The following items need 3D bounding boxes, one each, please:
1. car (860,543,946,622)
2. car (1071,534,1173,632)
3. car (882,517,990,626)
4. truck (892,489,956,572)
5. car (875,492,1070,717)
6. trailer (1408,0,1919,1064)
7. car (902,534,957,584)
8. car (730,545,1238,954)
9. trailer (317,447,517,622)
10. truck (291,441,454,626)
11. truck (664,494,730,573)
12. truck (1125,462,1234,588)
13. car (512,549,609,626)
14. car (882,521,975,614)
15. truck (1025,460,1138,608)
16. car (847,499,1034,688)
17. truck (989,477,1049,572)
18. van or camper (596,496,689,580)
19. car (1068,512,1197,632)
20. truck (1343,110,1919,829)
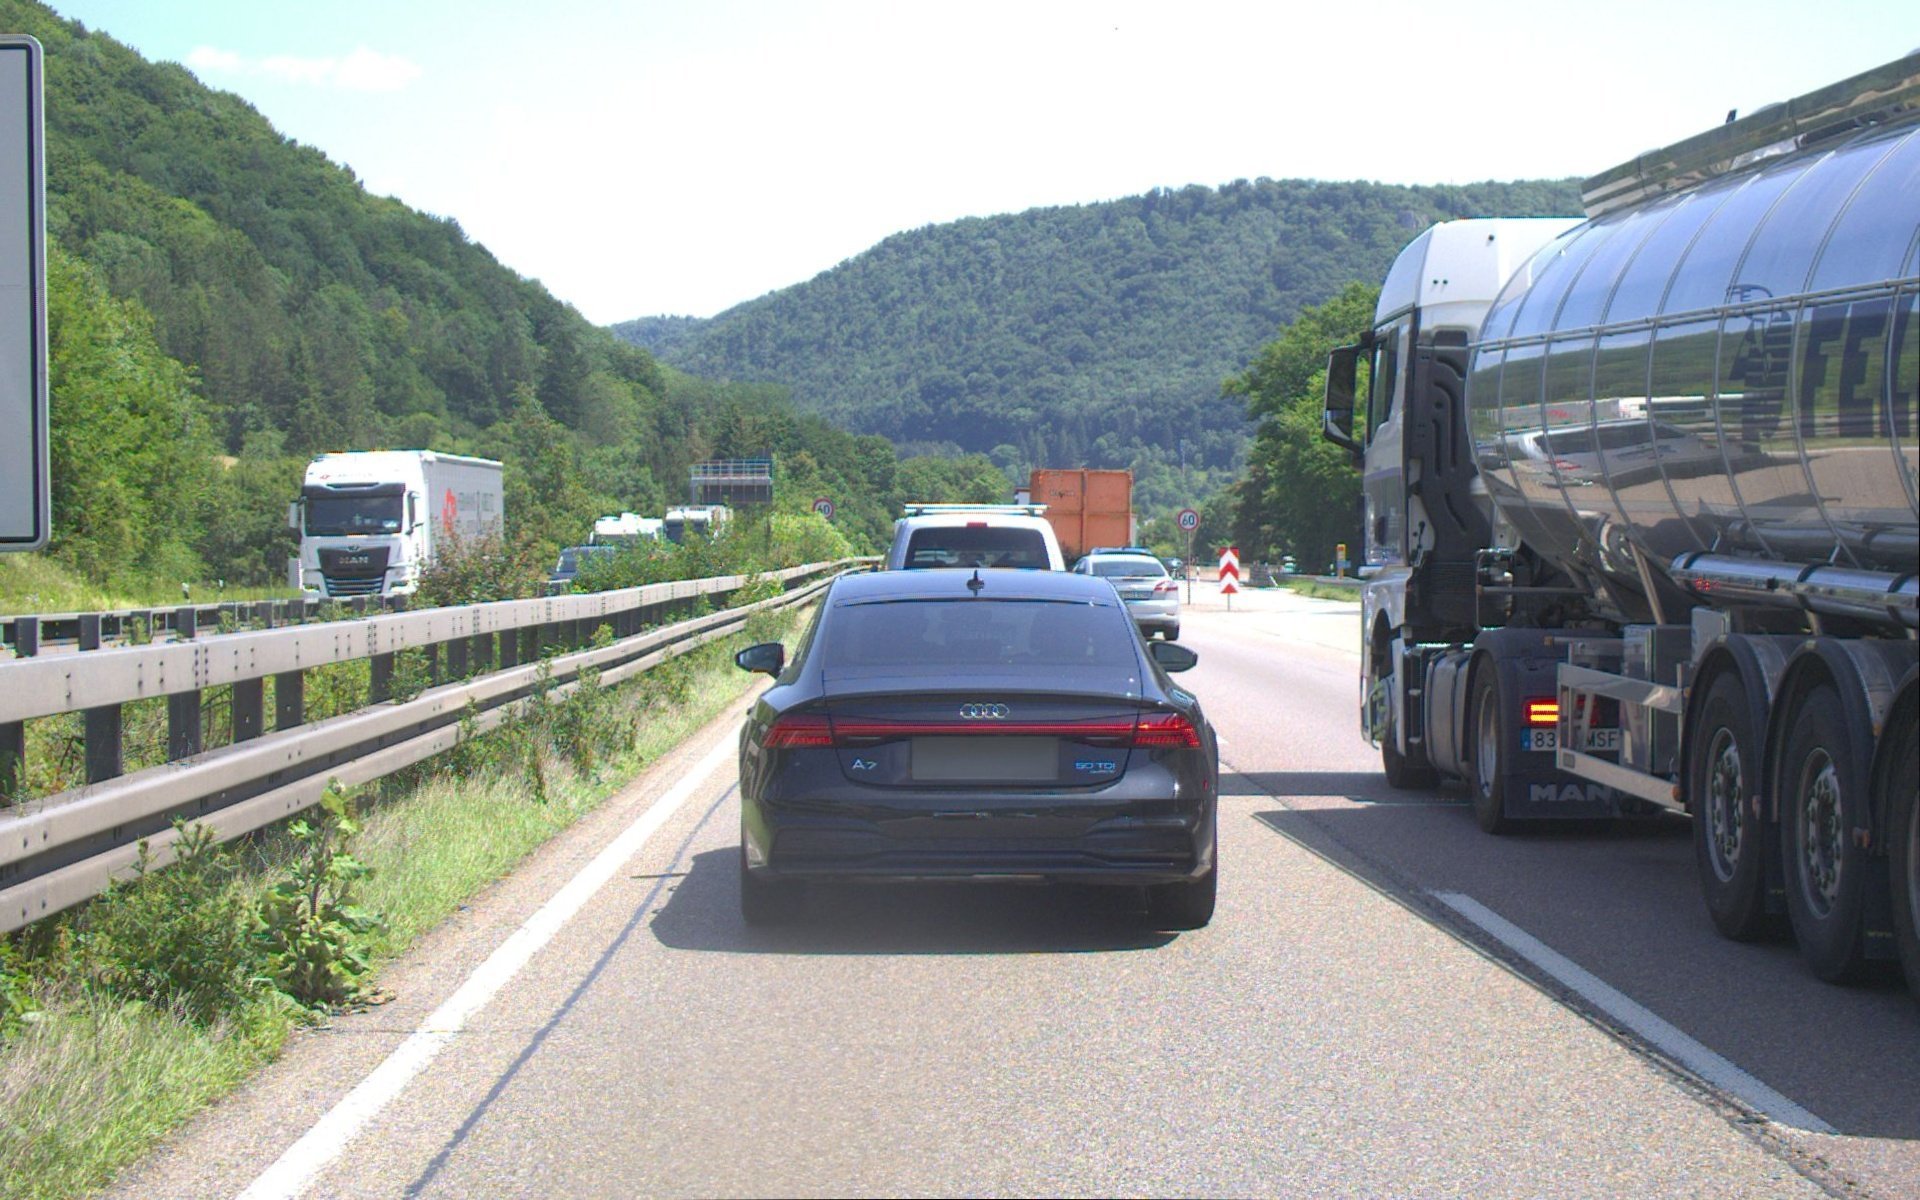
[{"bbox_3d":[-1.193,-0.397,73.369,1.712,1.613,4.000,-1,1,1],"label":"car"},{"bbox_3d":[3.404,-0.381,72.794,1.993,1.996,4.000,-1,1,1],"label":"car"},{"bbox_3d":[-0.473,-0.568,66.059,1.993,2.007,4.000,-1,1,-1],"label":"car"},{"bbox_3d":[-1.533,-2.993,149.610,2.628,3.429,11.421,-1,1,0],"label":"truck"},{"bbox_3d":[0.082,0.004,30.023,1.576,1.827,4.000,0,1,-1],"label":"car"},{"bbox_3d":[4.011,-0.561,14.123,2.538,3.722,11.892,0,1,-1],"label":"trailer"},{"bbox_3d":[-0.992,-1.365,113.777,1.712,1.613,4.000,-1,1,1],"label":"car"},{"bbox_3d":[0.000,0.516,14.581,1.849,1.483,4.083,0,1,-3],"label":"car"},{"bbox_3d":[-13.285,-1.602,85.370,2.782,3.986,14.160,0,1,0],"label":"trailer"},{"bbox_3d":[-13.253,-1.494,77.912,2.728,3.988,5.370,-1,1,0],"label":"truck"},{"bbox_3d":[-13.744,-3.469,180.358,2.869,3.992,10.172,0,1,-1],"label":"truck"},{"bbox_3d":[7.394,-2.518,117.443,2.817,3.989,14.955,0,1,0],"label":"truck"},{"bbox_3d":[-9.680,-0.328,83.619,1.922,1.790,4.601,0,1,-1],"label":"car"},{"bbox_3d":[-0.713,-0.740,76.870,1.993,2.007,4.000,-1,1,-1],"label":"car"},{"bbox_3d":[3.428,-1.902,100.337,2.817,3.989,14.955,0,1,0],"label":"truck"},{"bbox_3d":[-0.228,-0.098,38.727,1.993,2.007,4.000,0,1,-1],"label":"car"},{"bbox_3d":[2.203,-2.844,130.562,1.993,3.435,11.812,0,1,0],"label":"truck"},{"bbox_3d":[-12.925,-2.512,140.521,2.590,3.324,7.647,0,1,4],"label":"van or camper"},{"bbox_3d":[2.957,-0.507,59.802,1.993,2.007,4.000,-1,1,0],"label":"car"},{"bbox_3d":[3.908,-0.721,20.628,2.511,3.745,5.246,0,1,-1],"label":"truck"}]
